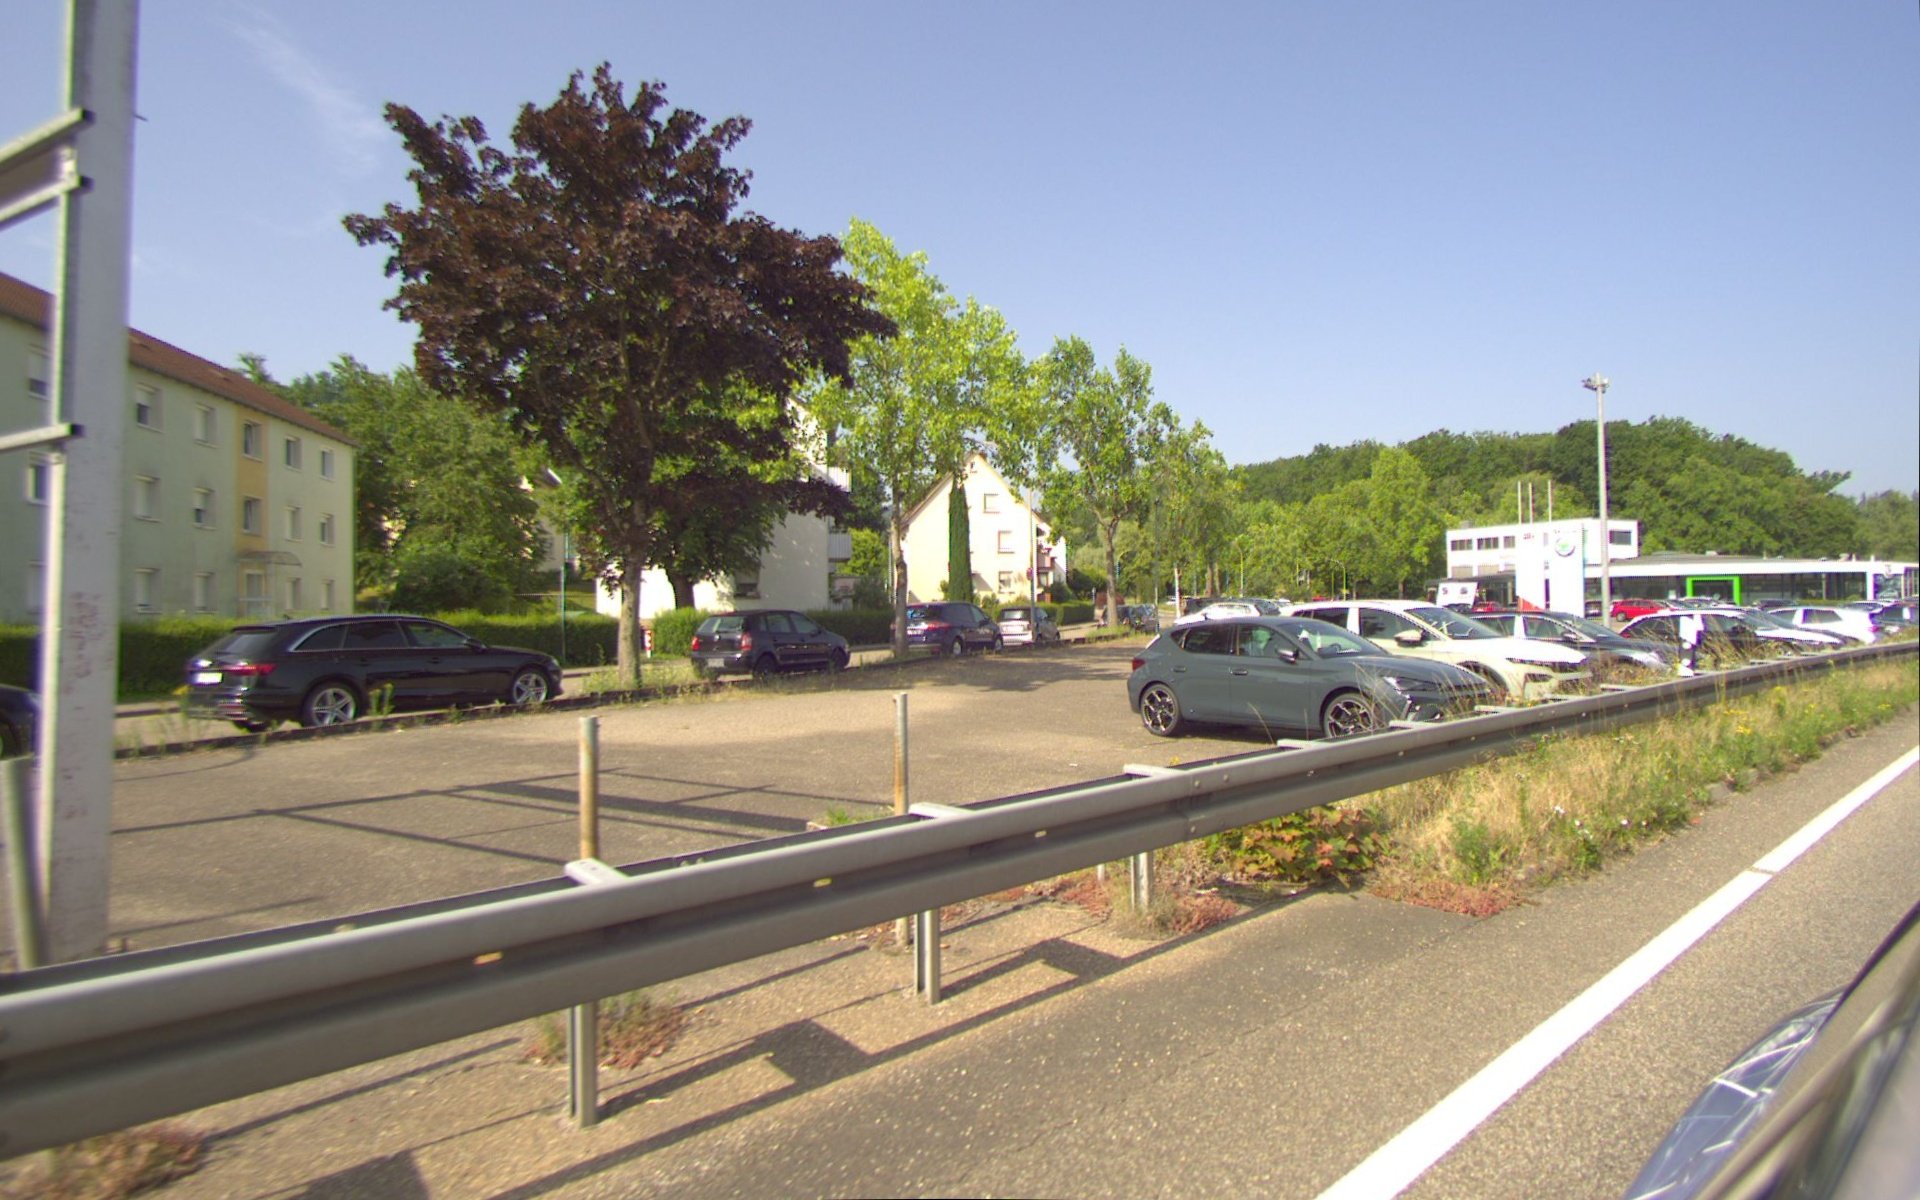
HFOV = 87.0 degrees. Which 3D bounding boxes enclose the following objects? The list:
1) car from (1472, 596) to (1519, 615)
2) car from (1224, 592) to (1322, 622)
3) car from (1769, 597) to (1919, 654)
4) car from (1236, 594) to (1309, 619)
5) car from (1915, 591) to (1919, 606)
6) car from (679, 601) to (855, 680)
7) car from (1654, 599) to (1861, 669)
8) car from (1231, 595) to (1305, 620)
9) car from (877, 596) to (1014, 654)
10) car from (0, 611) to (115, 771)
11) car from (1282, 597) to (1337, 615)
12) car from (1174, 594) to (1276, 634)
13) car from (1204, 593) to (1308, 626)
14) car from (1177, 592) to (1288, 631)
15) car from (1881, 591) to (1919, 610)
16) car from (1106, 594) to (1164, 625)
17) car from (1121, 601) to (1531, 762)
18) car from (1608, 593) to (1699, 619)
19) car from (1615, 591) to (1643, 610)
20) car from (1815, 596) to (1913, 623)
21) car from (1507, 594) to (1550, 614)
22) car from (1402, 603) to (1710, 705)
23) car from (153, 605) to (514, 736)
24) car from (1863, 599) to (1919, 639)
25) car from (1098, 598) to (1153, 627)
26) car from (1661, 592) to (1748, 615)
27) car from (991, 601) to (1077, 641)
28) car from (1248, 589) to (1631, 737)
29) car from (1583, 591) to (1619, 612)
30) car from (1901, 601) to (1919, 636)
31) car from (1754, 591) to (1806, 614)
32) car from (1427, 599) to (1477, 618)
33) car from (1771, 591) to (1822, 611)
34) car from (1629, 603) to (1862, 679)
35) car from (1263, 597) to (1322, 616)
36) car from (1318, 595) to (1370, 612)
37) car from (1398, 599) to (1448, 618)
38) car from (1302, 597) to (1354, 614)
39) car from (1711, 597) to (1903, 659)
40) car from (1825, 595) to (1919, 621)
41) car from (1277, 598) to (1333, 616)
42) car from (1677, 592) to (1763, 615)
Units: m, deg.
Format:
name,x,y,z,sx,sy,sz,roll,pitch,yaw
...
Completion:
name,x,y,z,sx,sy,sz,roll,pitch,yaw
car,47.561,0.504,89.923,4.525,1.565,2.003,-1,2,-37
car,17.022,0.342,55.104,4.734,1.540,1.970,0,1,38
car,28.583,0.773,32.309,1.852,1.660,3.998,0,1,-37
car,22.190,0.457,71.831,4.706,1.608,1.914,1,1,27
car,100.005,-0.125,102.536,1.755,1.482,4.329,0,2,-30
car,-3.824,0.749,20.602,1.641,1.383,3.626,0,1,28
car,20.350,0.799,25.959,1.773,1.587,3.858,0,1,-37
car,21.196,0.488,69.644,4.700,1.608,1.916,1,1,24
car,-0.300,0.626,28.172,1.897,1.423,4.480,0,1,28
car,-10.117,0.858,8.439,1.694,1.423,4.440,0,1,28
car,33.745,0.588,97.811,4.733,1.565,1.750,2,2,42
car,10.642,0.522,40.682,3.729,1.541,1.641,0,0,27
car,14.493,0.416,49.687,4.610,1.540,1.839,0,1,38
car,11.944,0.489,44.440,4.458,1.620,1.822,0,1,30
car,83.793,0.026,88.446,1.753,1.584,4.731,0,1,-13
car,8.932,0.454,51.399,1.771,1.493,3.949,0,1,28
car,4.023,0.810,11.783,1.846,1.502,4.162,0,-1,-35
car,46.966,0.365,68.620,1.893,1.584,4.756,0,2,-31
car,60.743,-0.003,91.830,1.781,1.584,4.297,1,2,38
car,54.986,0.540,61.594,1.791,1.535,4.169,0,1,-36
car,49.201,0.346,87.556,4.532,1.565,2.000,-1,2,-43
car,10.134,0.824,17.514,1.599,1.462,4.330,0,1,-39
car,-7.896,0.784,13.103,1.694,1.423,3.626,0,0,28
car,39.490,0.795,40.882,1.708,1.564,4.174,0,2,-35
car,7.491,0.532,45.647,1.577,1.201,3.632,0,1,24
car,54.077,0.228,73.574,1.893,1.584,4.756,0,2,-31
car,2.563,0.666,34.162,1.579,1.201,3.626,0,1,28
car,6.293,0.679,13.838,2.097,1.660,4.338,0,1,-29
car,52.982,0.112,83.628,1.994,1.565,4.546,1,2,39
car,44.167,0.865,44.259,1.699,1.509,4.174,0,2,-35
car,62.788,0.183,77.567,1.911,1.584,4.713,1,1,24
car,42.758,0.724,87.861,4.375,1.565,1.841,-1,1,-31
car,71.023,0.070,85.992,1.766,1.584,4.335,1,1,16
car,18.198,0.882,23.609,1.666,1.540,3.998,0,1,-36
car,29.710,0.523,90.474,4.718,1.565,1.755,1,1,34
car,39.236,0.372,103.435,1.746,1.565,4.744,-1,2,-41
car,41.315,0.713,90.242,4.373,1.565,1.842,0,1,-29
car,37.064,0.492,102.034,1.746,1.565,4.744,-1,2,-41
car,24.016,0.738,28.812,1.747,1.600,3.993,0,1,-41
car,57.067,0.477,63.367,1.789,1.535,4.108,0,1,-33
car,32.592,0.640,95.579,4.731,1.565,1.751,1,2,41
car,56.481,0.215,75.253,1.893,1.584,4.756,0,2,-31
